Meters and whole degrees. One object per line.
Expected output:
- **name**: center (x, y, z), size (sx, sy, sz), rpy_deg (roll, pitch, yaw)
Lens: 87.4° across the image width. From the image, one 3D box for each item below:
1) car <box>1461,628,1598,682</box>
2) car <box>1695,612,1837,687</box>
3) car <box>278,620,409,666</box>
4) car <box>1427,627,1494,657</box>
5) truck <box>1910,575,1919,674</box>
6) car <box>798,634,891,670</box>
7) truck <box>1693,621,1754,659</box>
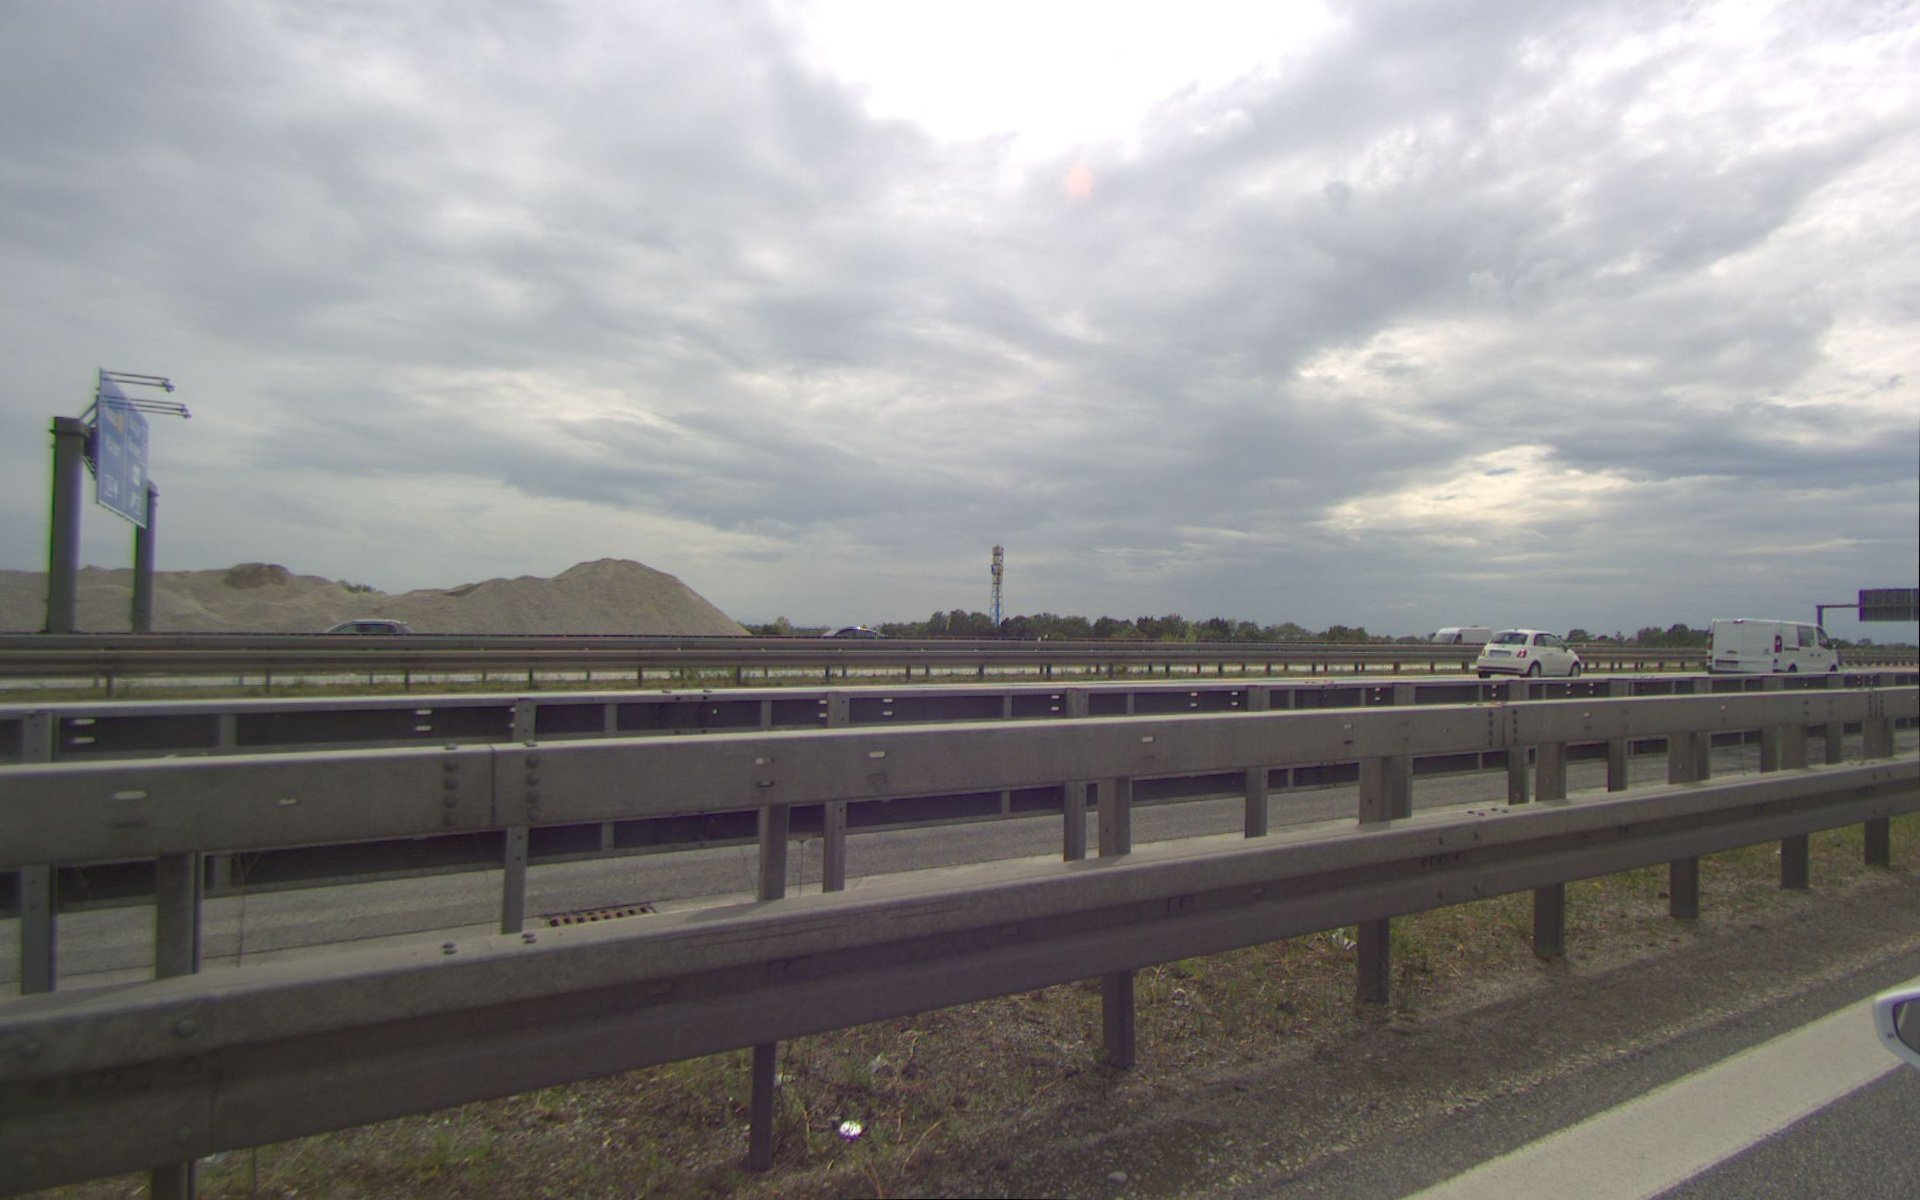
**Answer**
- **car**: center (16.970, 1.616, 29.903), size (3.953, 1.438, 1.789), rpy_deg (2, 0, -30)
- **car**: center (24.222, 1.460, 30.153), size (4.325, 2.040, 1.983), rpy_deg (2, 0, -32)
- **car**: center (-22.315, 1.554, 36.452), size (3.957, 1.514, 1.672), rpy_deg (2, 0, -33)
- **car**: center (39.291, 3.298, 78.782), size (5.456, 2.253, 2.184), rpy_deg (2, 0, -32)
- **truck**: center (46.811, 1.227, 44.512), size (15.902, 4.072, 3.165), rpy_deg (2, 0, -33)
- **car**: center (-5.361, 2.405, 46.728), size (3.957, 1.514, 1.672), rpy_deg (2, 0, -33)
- **truck**: center (77.541, 4.044, 101.982), size (5.830, 3.657, 3.024), rpy_deg (2, -1, -32)
